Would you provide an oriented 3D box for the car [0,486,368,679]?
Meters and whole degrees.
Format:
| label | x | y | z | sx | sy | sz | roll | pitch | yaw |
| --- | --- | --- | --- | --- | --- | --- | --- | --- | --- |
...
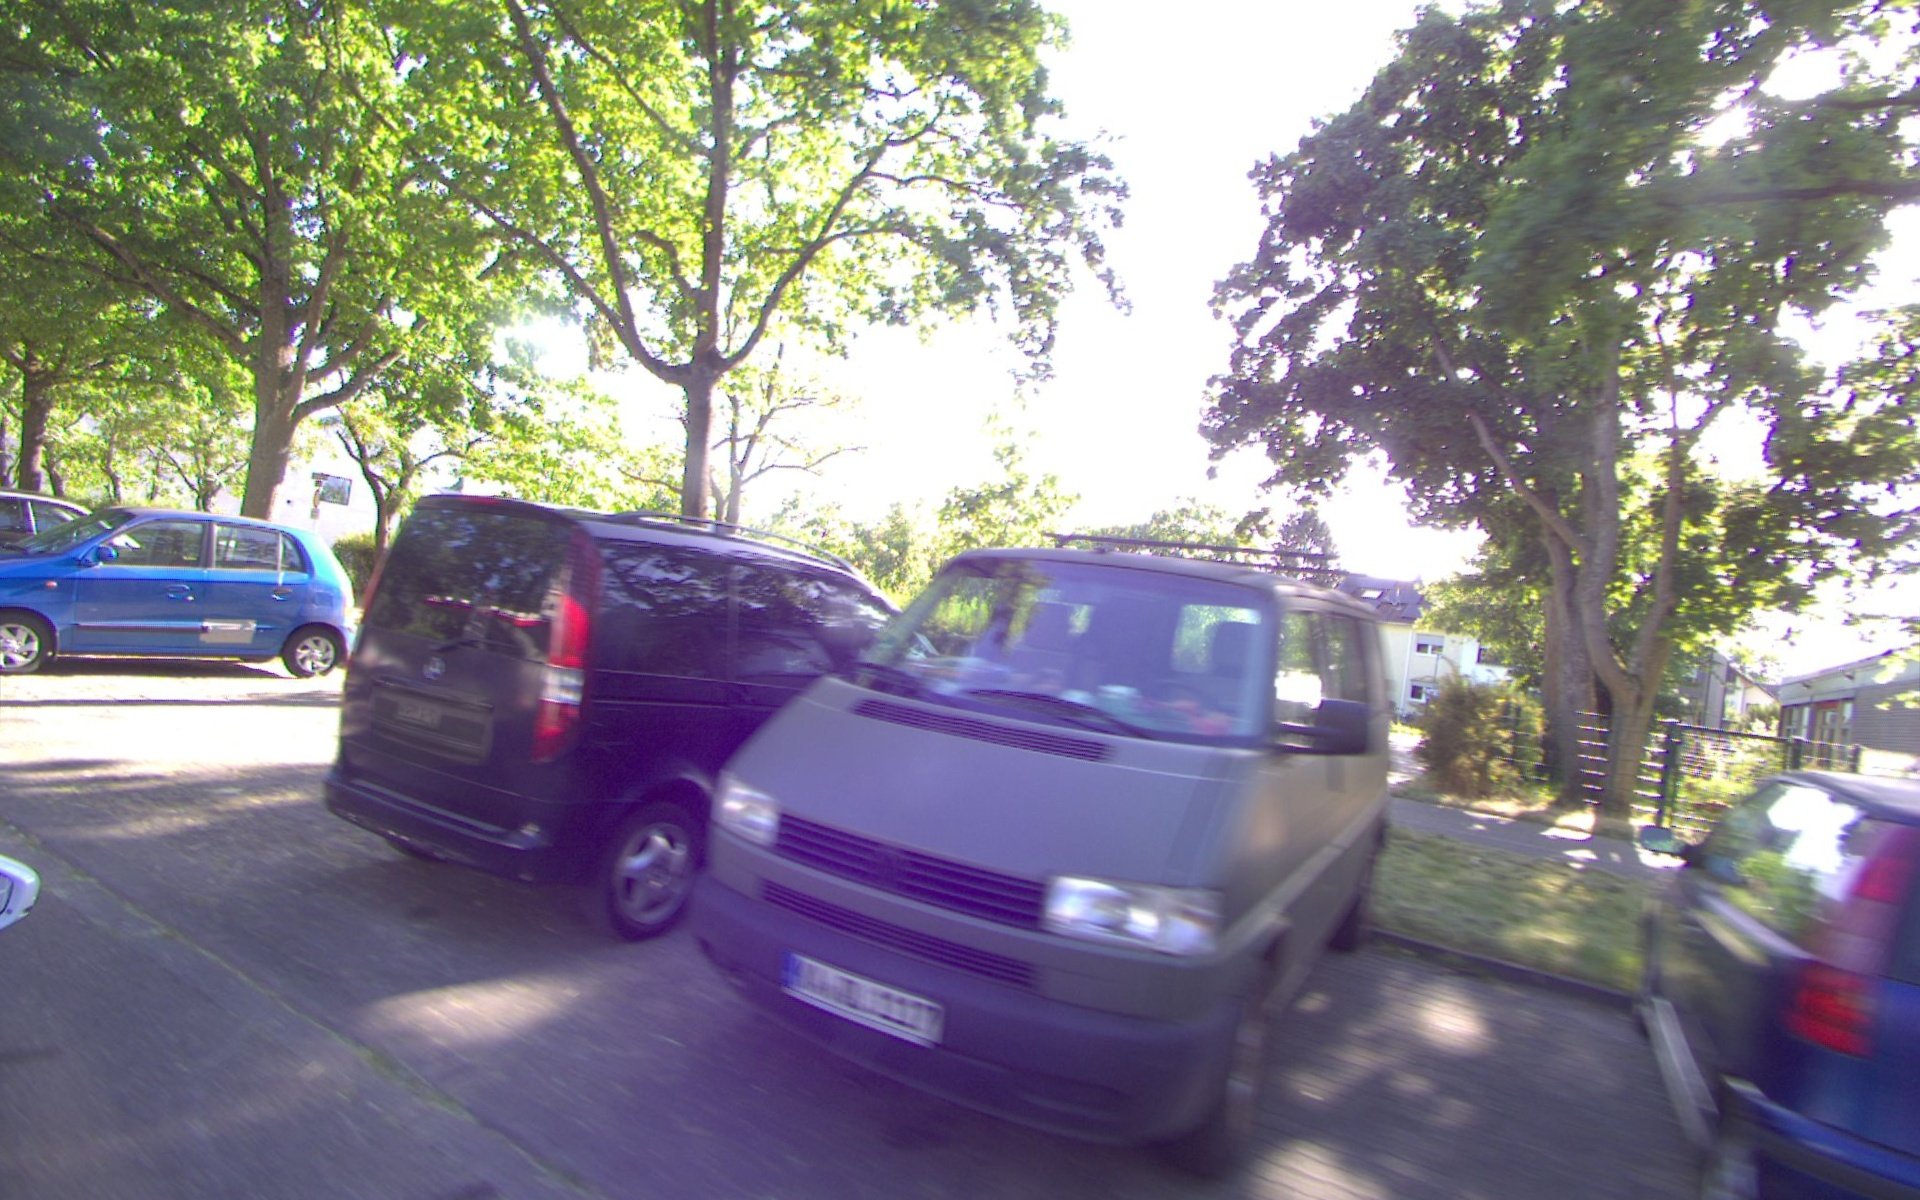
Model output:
| label | x | y | z | sx | sy | sz | roll | pitch | yaw |
| --- | --- | --- | --- | --- | --- | --- | --- | --- | --- |
| car | -8.021 | -0.148 | 9.698 | 1.638 | 1.550 | 3.524 | 7 | -1 | 33 |

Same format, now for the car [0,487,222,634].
| label | x | y | z | sx | sy | sz | roll | pitch | yaw |
| --- | --- | --- | --- | --- | --- | --- | --- | --- | --- |
| car | -11.644 | -0.562 | 12.426 | 1.757 | 1.595 | 3.587 | 7 | -1 | 33 |

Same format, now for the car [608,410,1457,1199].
| label | x | y | z | sx | sy | sz | roll | pitch | yaw |
| --- | --- | --- | --- | --- | --- | --- | --- | --- | --- |
| car | 1.007 | 0.709 | 4.833 | 1.911 | 2.056 | 4.812 | 7 | -1 | 31 |

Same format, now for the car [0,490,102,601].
| label | x | y | z | sx | sy | sz | roll | pitch | yaw |
| --- | --- | --- | --- | --- | --- | --- | --- | --- | --- |
| car | -15.668 | -1.005 | 15.224 | 1.826 | 1.595 | 3.589 | 7 | -1 | 31 |

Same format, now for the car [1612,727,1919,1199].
| label | x | y | z | sx | sy | sz | roll | pitch | yaw |
| --- | --- | --- | --- | --- | --- | --- | --- | --- | --- |
| car | 3.523 | 1.339 | 3.588 | 1.710 | 1.420 | 3.995 | 7 | -1 | 31 |

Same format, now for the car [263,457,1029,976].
| label | x | y | z | sx | sy | sz | roll | pitch | yaw |
| --- | --- | --- | --- | --- | --- | --- | --- | --- | --- |
| car | -1.332 | 0.516 | 5.876 | 1.768 | 1.859 | 4.017 | 7 | -1 | 29 |
